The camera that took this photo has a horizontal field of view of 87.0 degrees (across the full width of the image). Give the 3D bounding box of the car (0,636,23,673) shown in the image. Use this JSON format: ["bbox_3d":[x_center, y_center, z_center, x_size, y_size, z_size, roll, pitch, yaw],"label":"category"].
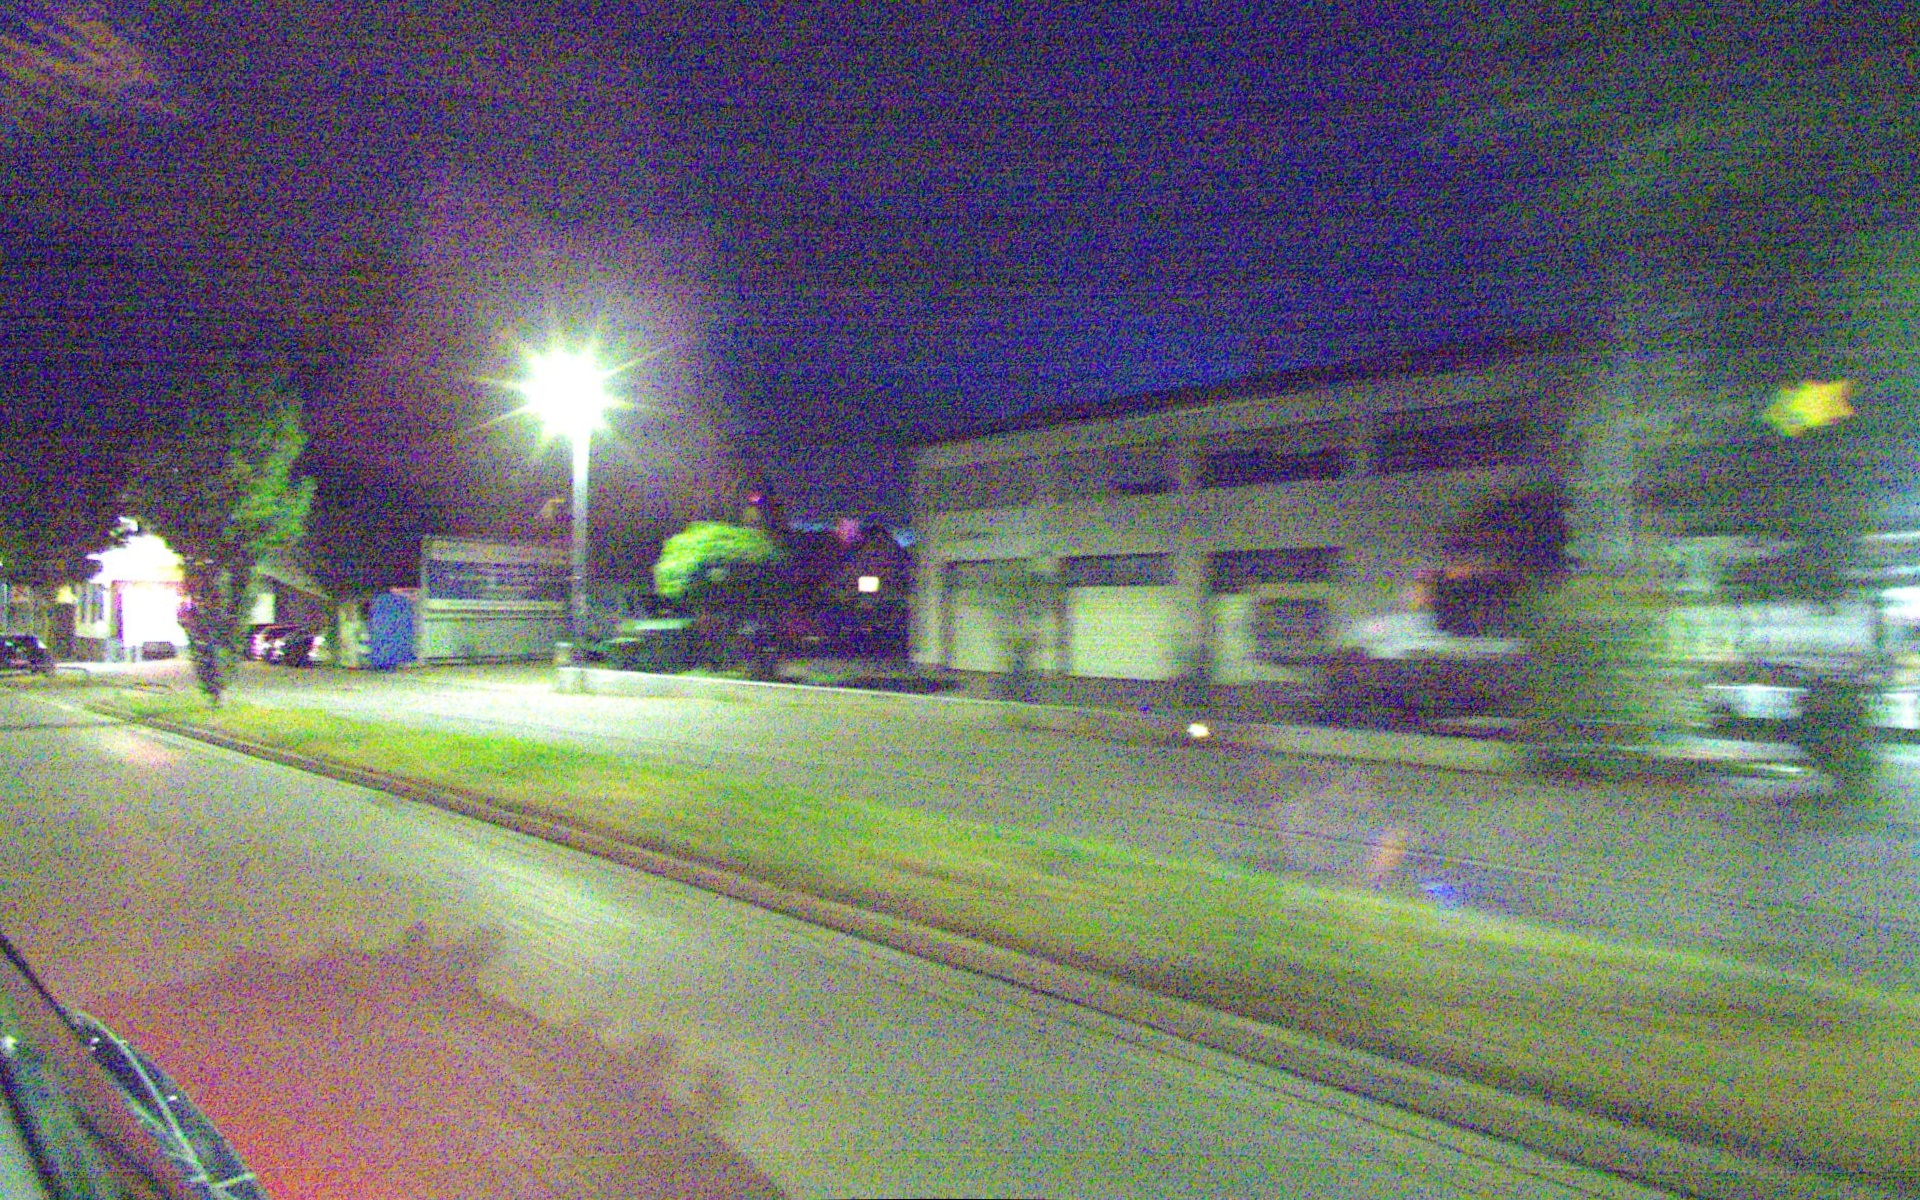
[{"bbox_3d":[-40.475,2.252,42.071,3.963,1.480,1.752,-2,-3,40],"label":"car"}]

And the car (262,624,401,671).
[{"bbox_3d":[-23.924,1.834,38.616,2.000,1.675,4.071,-2,-4,42],"label":"car"}]

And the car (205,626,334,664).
[{"bbox_3d":[-30.344,1.963,44.595,2.024,1.573,4.276,-1,-2,34],"label":"car"}]

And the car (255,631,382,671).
[{"bbox_3d":[-25.884,2.022,40.911,2.000,1.475,3.944,-2,-1,42],"label":"car"}]

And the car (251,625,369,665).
[{"bbox_3d":[-27.876,1.883,43.461,2.001,1.630,3.942,-2,-3,44],"label":"car"}]

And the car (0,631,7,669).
[{"bbox_3d":[-44.422,2.254,45.419,4.467,1.649,1.909,-2,-1,40],"label":"car"}]

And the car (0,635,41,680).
[{"bbox_3d":[-33.141,1.973,34.856,4.006,1.480,1.731,-2,-2,40],"label":"car"}]

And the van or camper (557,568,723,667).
[{"bbox_3d":[-9.906,0.557,31.046,5.925,2.768,2.053,-2,-2,40],"label":"van or camper"}]

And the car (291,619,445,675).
[{"bbox_3d":[-19.712,1.608,33.860,1.943,1.716,3.953,-1,-5,34],"label":"car"}]
